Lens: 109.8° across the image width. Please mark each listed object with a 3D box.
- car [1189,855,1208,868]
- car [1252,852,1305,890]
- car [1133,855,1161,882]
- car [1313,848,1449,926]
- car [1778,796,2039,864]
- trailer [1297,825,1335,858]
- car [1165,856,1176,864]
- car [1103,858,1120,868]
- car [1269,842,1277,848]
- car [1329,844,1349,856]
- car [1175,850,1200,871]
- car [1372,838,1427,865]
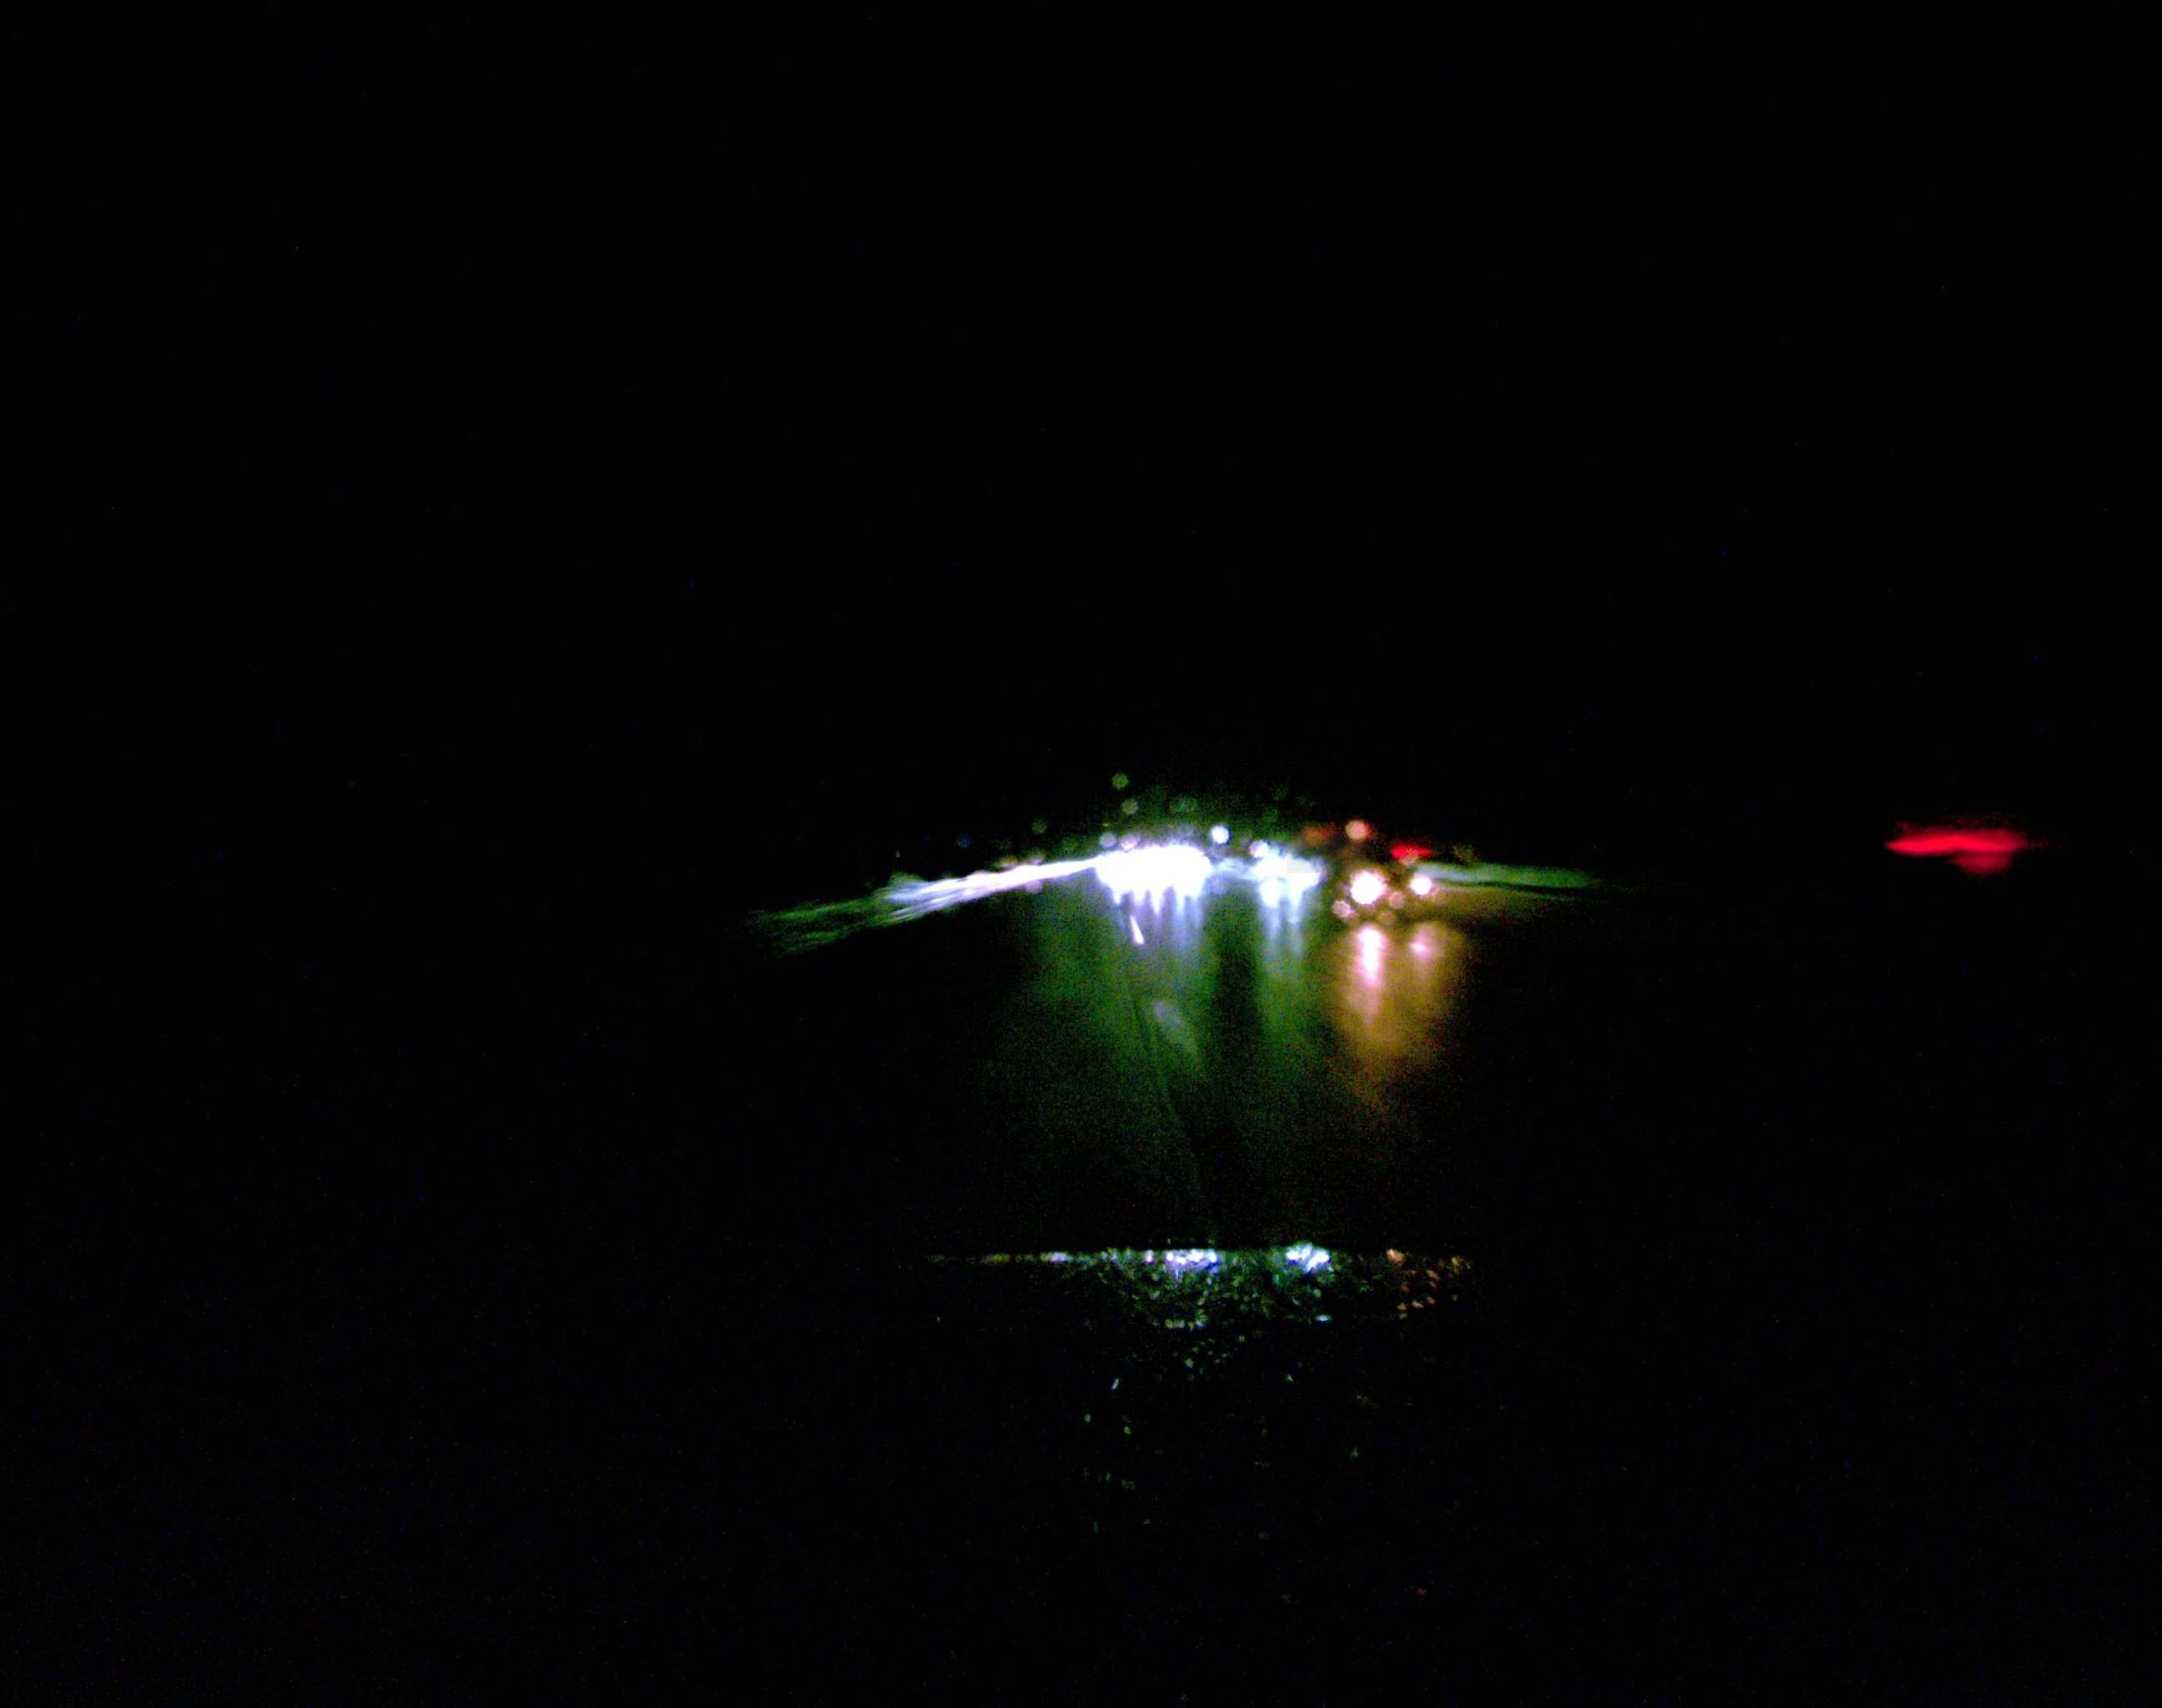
[{"bbox_3d":[16.420,0.995,106.314,2.309,1.600,3.872,-2,1,5],"label":"car"},{"bbox_3d":[11.555,0.925,44.700,2.143,2.002,4.529,-2,1,4],"label":"car"},{"bbox_3d":[5.404,1.155,62.534,1.998,2.002,4.000,-2,1,2],"label":"car"},{"bbox_3d":[7.097,0.697,18.478,1.920,1.585,4.234,-2,0,5],"label":"car"},{"bbox_3d":[23.479,-0.611,21.948,1.998,1.586,5.020,-4,0,0],"label":"car"},{"bbox_3d":[39.868,-2.094,129.462,3.271,5.039,13.975,-2,0,5],"label":"trailer"},{"bbox_3d":[14.515,0.953,123.535,1.692,1.149,3.422,-2,0,6],"label":"car"},{"bbox_3d":[4.142,1.250,103.062,1.998,1.149,4.001,-2,0,5],"label":"car"},{"bbox_3d":[58.878,-2.672,233.051,1.779,1.586,4.003,-4,-1,10],"label":"car"},{"bbox_3d":[36.700,-0.598,108.259,1.779,1.587,4.225,-4,0,7],"label":"car"},{"bbox_3d":[9.530,0.552,68.478,1.998,1.667,4.001,-2,1,6],"label":"car"},{"bbox_3d":[21.755,-0.173,52.033,1.780,1.586,4.400,-4,0,-1],"label":"car"}]
